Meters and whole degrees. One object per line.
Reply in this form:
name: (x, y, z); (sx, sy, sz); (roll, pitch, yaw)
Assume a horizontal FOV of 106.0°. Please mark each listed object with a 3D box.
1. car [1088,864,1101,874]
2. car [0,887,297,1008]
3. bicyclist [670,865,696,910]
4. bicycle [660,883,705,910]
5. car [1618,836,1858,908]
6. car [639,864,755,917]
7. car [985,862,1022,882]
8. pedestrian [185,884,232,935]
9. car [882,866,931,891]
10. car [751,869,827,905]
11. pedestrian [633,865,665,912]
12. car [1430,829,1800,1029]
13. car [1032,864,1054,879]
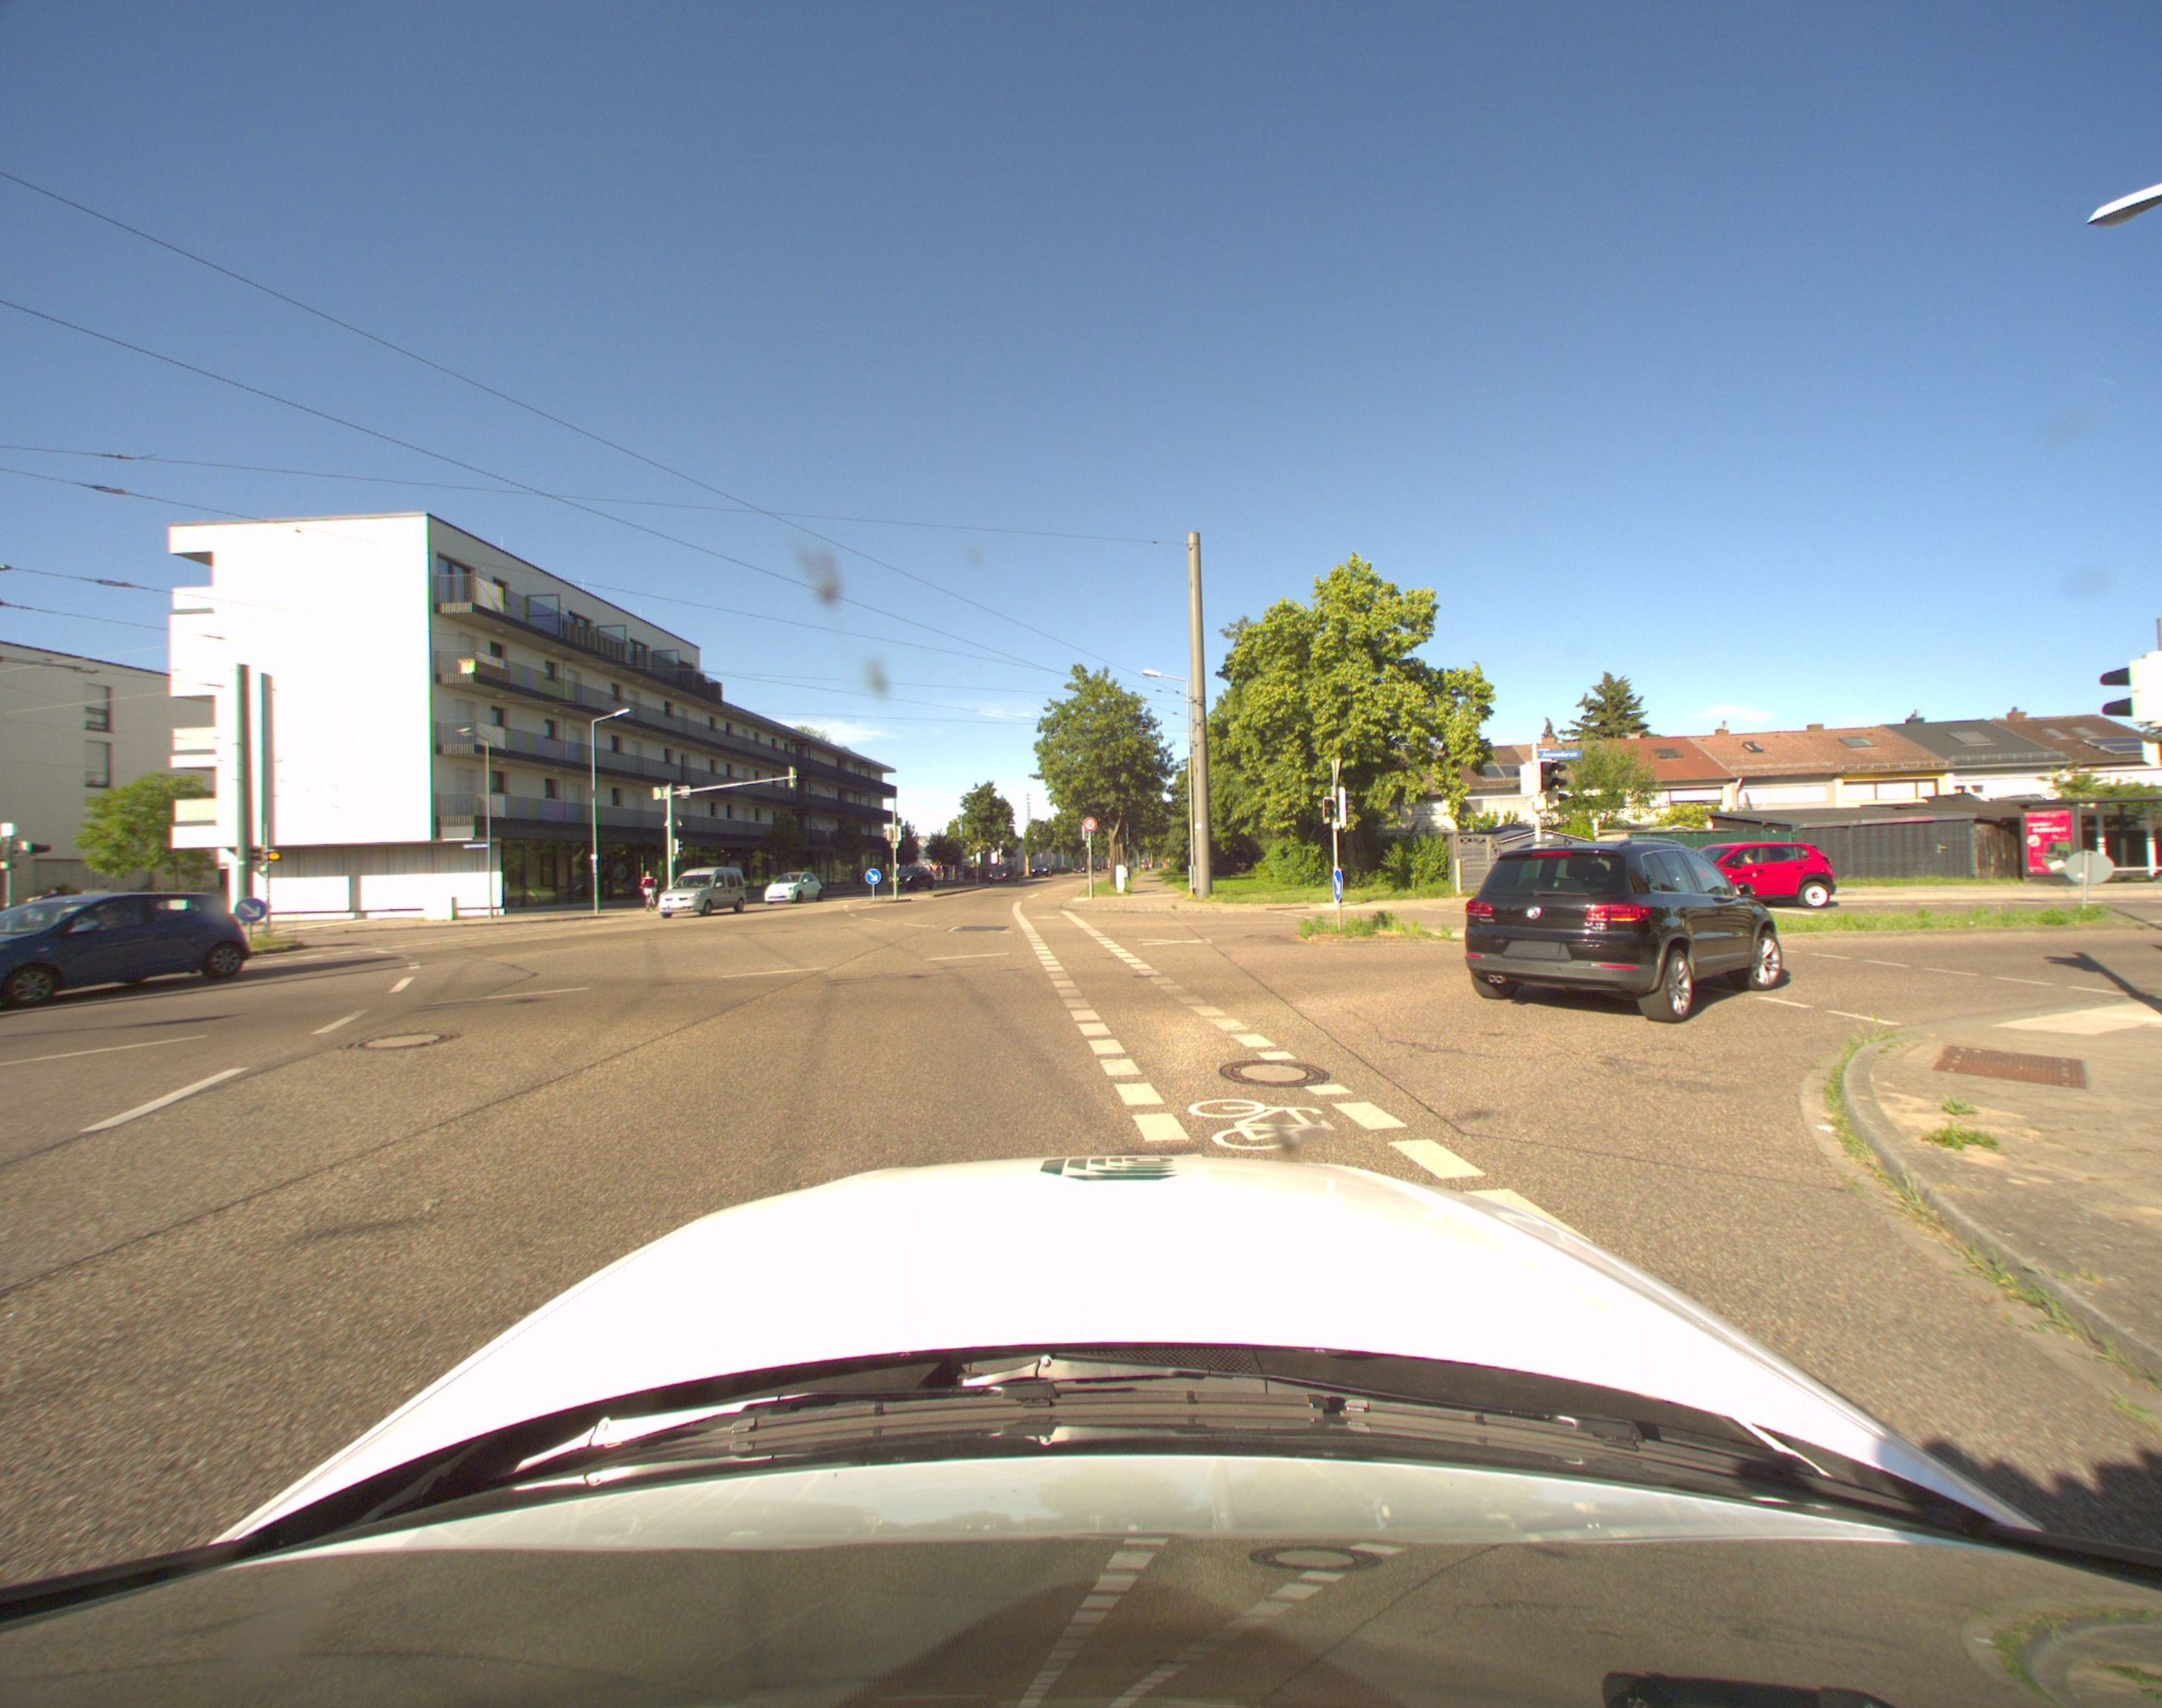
car: (2.466, 2.719, 150.644); (1.885, 1.758, 4.008); (0, -1, 7)
car: (-14.823, 1.312, 12.271); (1.690, 1.456, 4.451); (-2, -1, 0)
bicyclist: (-18.149, 1.518, 37.139); (0.792, 2.014, 0.809); (-2, -1, -8)
bicycle: (-18.150, 1.924, 37.129); (1.636, 1.144, 0.743); (-2, -1, -8)
car: (15.850, 0.429, 19.864); (4.146, 1.588, 1.949); (-2, 0, 6)
car: (-13.968, 1.268, 29.951); (1.986, 1.755, 4.364); (-2, -1, 2)
car: (-6.451, 1.463, 68.255); (1.981, 1.571, 4.011); (-2, -1, 10)
pedestrian: (-30.671, 1.938, 28.637); (0.639, 1.733, 0.957); (0, -1, 28)
car: (-11.776, 1.636, 55.362); (1.958, 1.534, 4.745); (-2, -1, 4)
car: (-14.140, 1.579, 39.670); (1.982, 1.487, 3.552); (-4, -1, 8)
pedestrian: (-19.186, 1.517, 36.161); (0.974, 2.014, 0.760); (-2, -1, -1)
car: (5.945, 0.622, 8.873); (4.534, 1.654, 1.914); (0, 0, -36)
car: (-4.550, 2.074, 98.574); (1.985, 1.737, 5.204); (-2, -1, 4)
